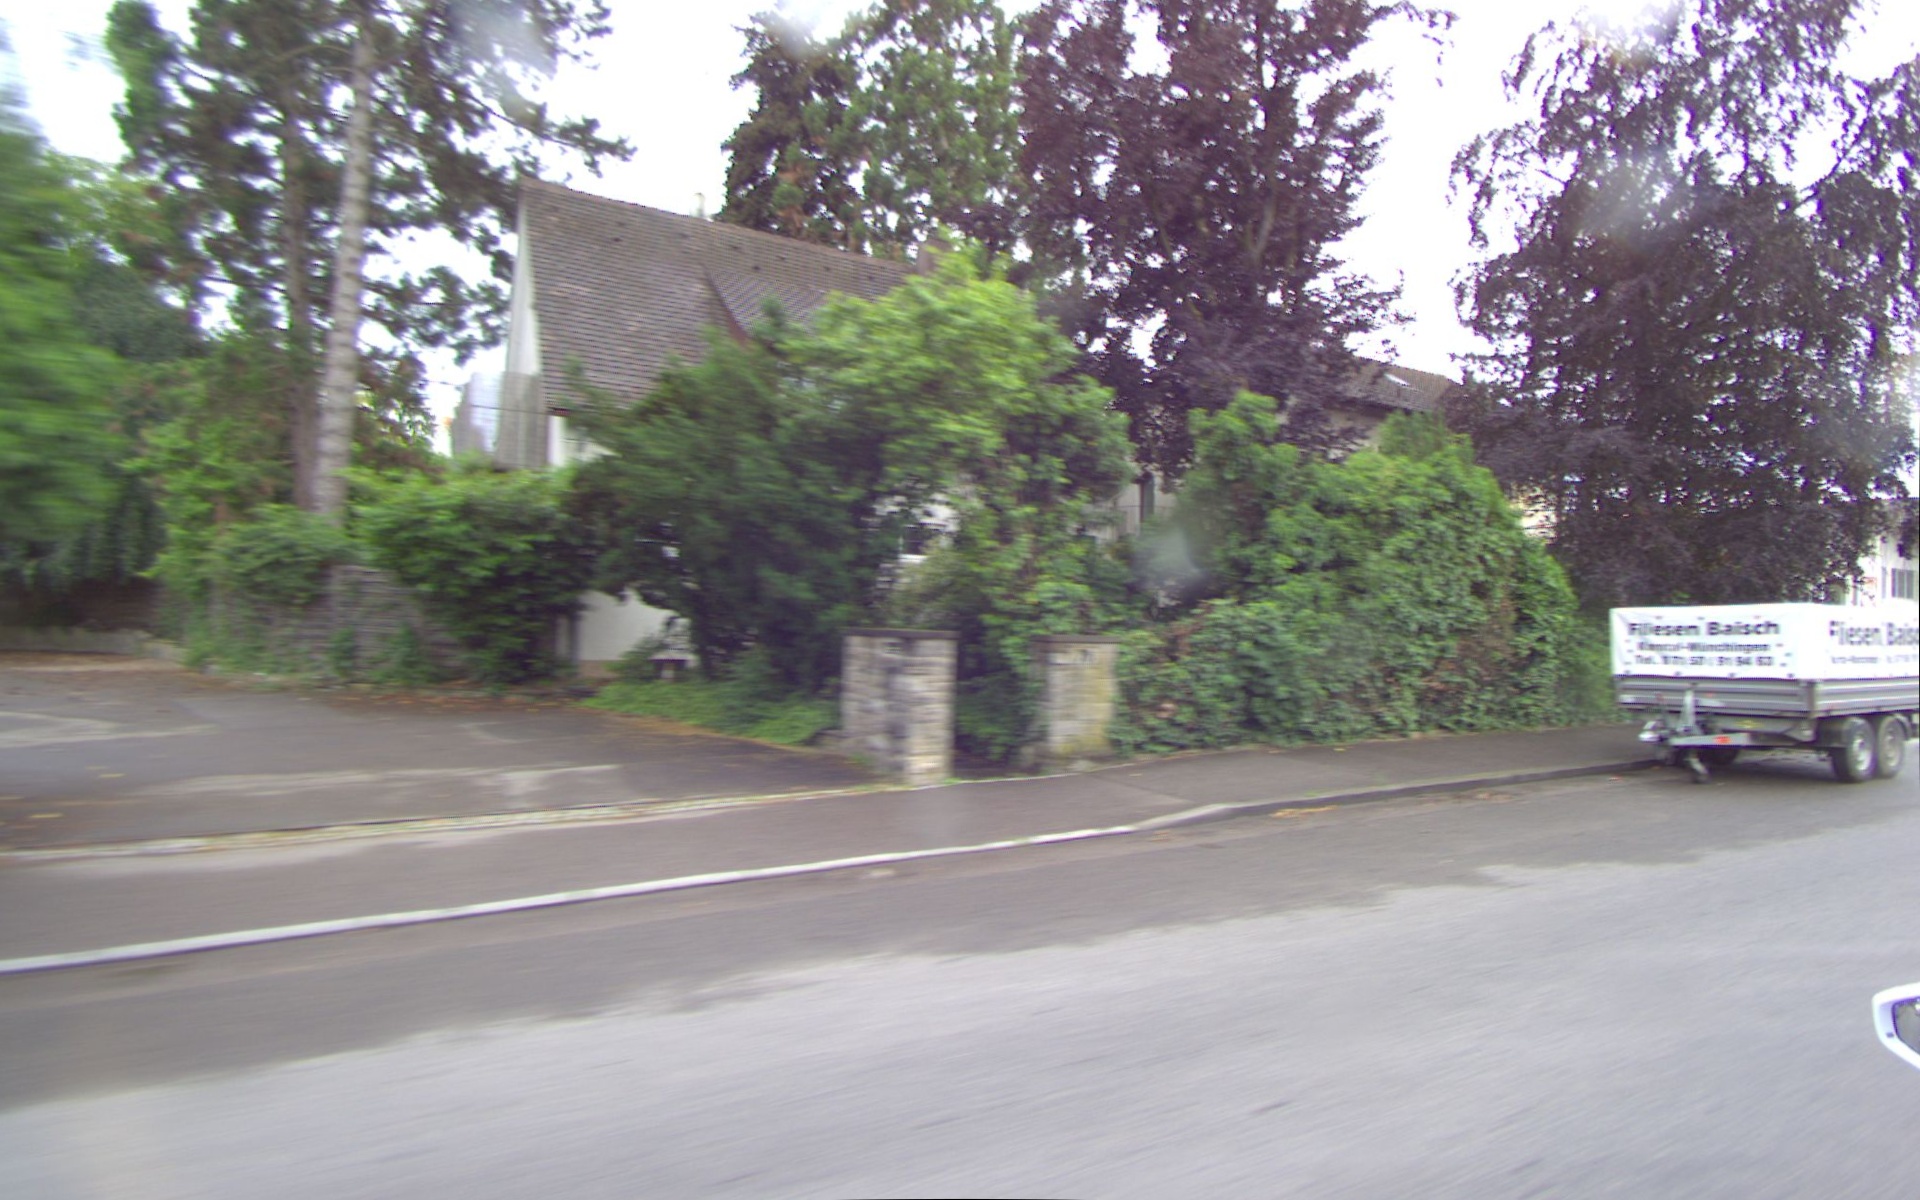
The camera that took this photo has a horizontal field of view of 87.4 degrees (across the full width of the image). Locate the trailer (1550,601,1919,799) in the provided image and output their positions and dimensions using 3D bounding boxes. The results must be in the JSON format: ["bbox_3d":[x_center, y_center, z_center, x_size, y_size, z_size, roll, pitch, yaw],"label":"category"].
[{"bbox_3d":[8.754,0.949,11.056,4.494,1.789,1.921,1,0,-30],"label":"trailer"}]
